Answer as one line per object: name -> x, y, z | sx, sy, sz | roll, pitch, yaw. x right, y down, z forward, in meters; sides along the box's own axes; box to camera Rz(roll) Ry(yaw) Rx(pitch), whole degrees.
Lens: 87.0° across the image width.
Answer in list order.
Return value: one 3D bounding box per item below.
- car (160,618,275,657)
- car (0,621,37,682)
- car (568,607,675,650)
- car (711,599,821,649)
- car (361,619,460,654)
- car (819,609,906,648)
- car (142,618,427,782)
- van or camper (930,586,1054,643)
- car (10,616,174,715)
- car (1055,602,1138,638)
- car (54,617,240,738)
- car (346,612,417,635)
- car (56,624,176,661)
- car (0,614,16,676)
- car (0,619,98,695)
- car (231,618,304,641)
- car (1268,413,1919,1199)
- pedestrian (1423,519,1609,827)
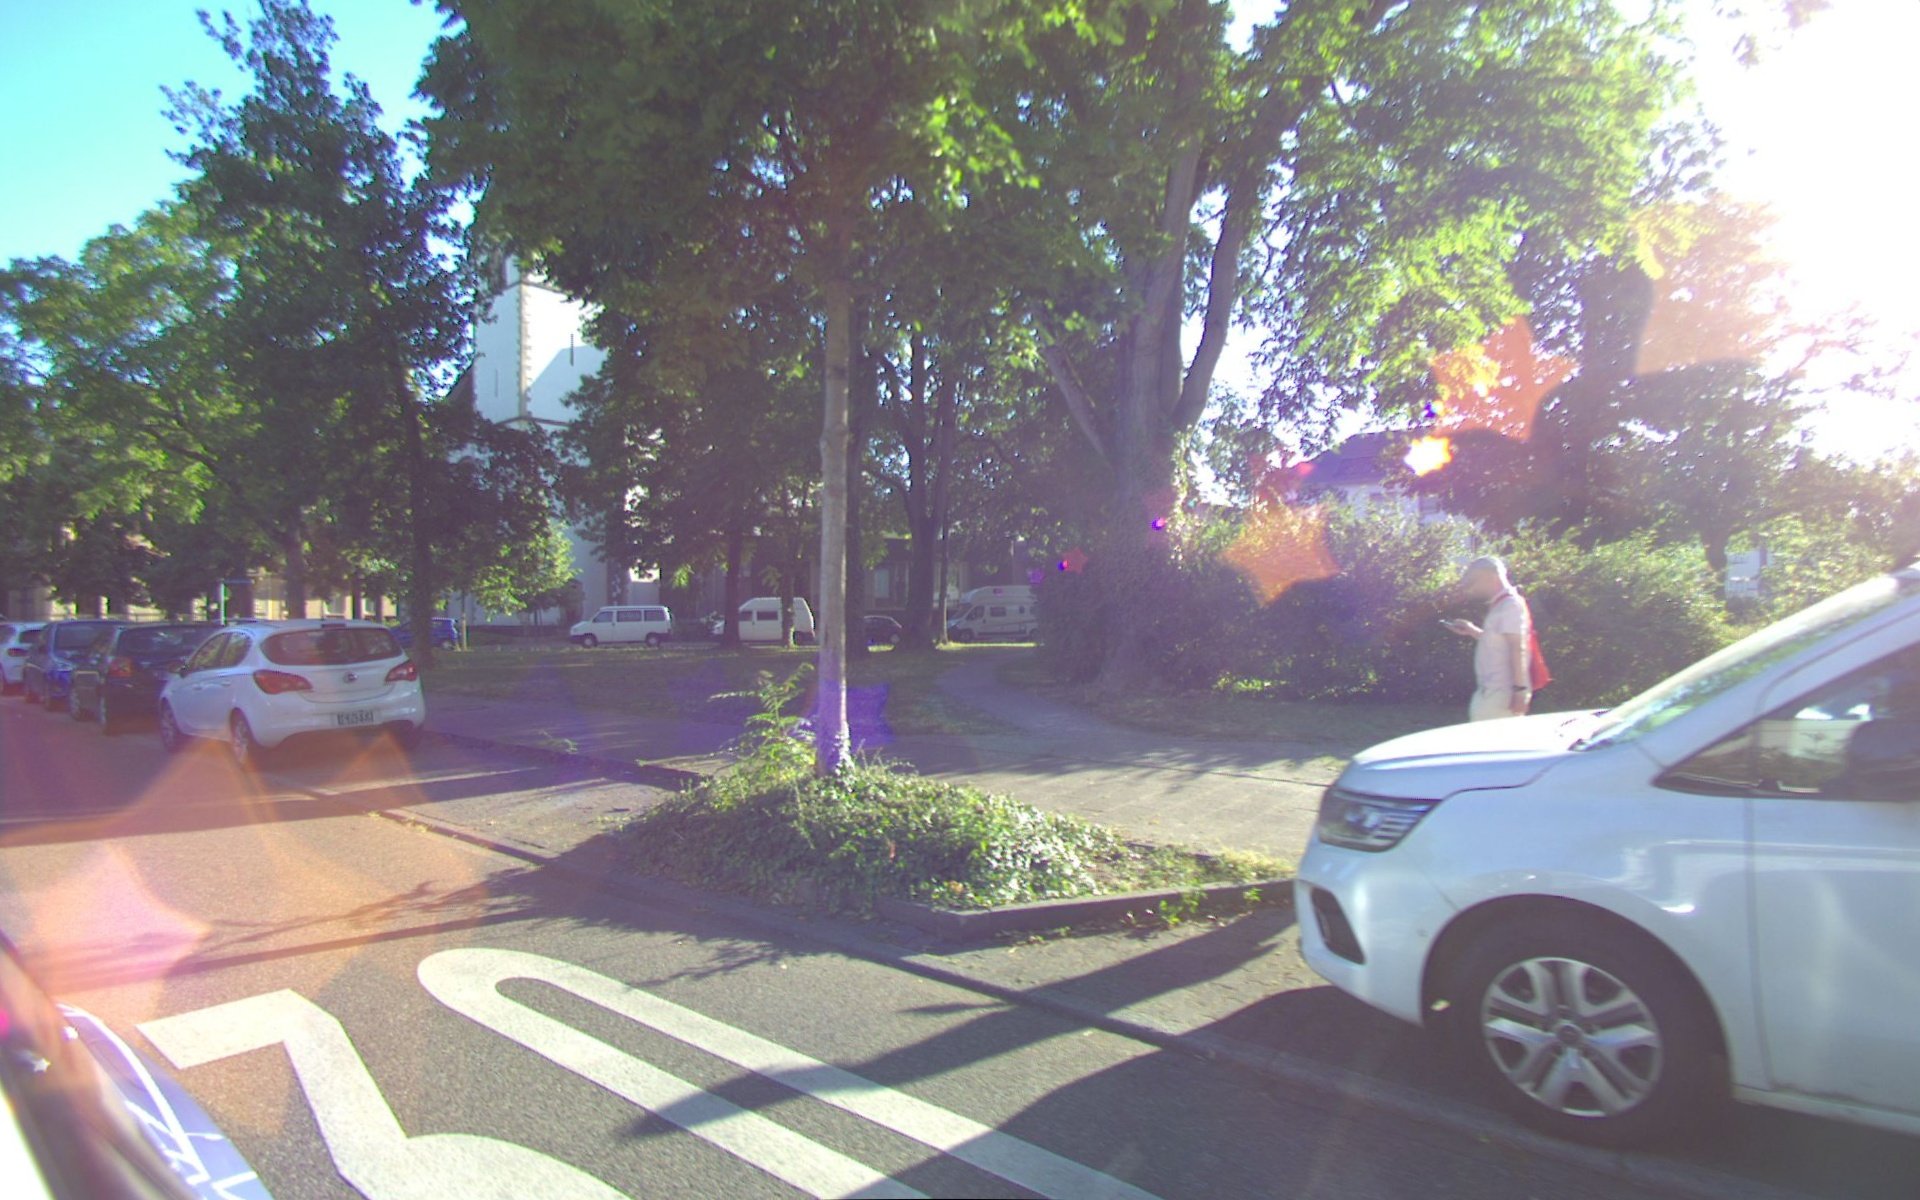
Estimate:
car -> -31.997, 1.594, 43.715 | 3.634, 1.591, 1.715 | 0, -1, -15
car -> -24.277, 1.284, 25.275 | 3.424, 1.434, 1.373 | -1, 0, 40
car -> -16.061, 1.340, 48.222 | 4.758, 1.961, 1.862 | 0, -1, -15
car -> -9.643, 1.155, 50.235 | 5.096, 2.374, 1.863 | 0, -1, -21
car -> -24.772, 1.623, 45.733 | 3.634, 1.513, 1.626 | 0, -1, -15
car -> -5.003, 1.438, 51.913 | 4.072, 1.900, 1.863 | 0, -1, -21
car -> -7.679, 0.987, 11.383 | 3.860, 1.538, 1.577 | -1, -1, 39
van or camper -> 1.706, 0.733, 53.952 | 6.223, 2.930, 2.103 | 0, -1, -18
car -> -15.365, 1.076, 17.867 | 3.702, 1.507, 1.622 | -1, 0, 40
car -> 7.507, 1.109, 55.739 | 4.072, 1.900, 1.863 | 0, -1, -21
car -> -11.825, 1.018, 14.628 | 3.942, 1.506, 1.535 | -2, -2, 43
car -> -43.158, 1.729, 75.568 | 1.889, 1.668, 4.166 | -2, -2, 38
car -> -35.771, 1.802, 42.977 | 3.545, 1.451, 1.622 | 0, -3, -14
car -> -28.185, 1.281, 28.538 | 4.317, 1.688, 1.783 | -1, 0, 40
car -> -19.819, 1.163, 21.502 | 3.972, 1.417, 1.673 | -1, 0, 40
car -> -52.488, 2.232, 76.742 | 1.998, 1.668, 4.165 | -1, -1, 39
car -> 3.316, 0.493, 2.519 | 4.547, 1.855, 1.763 | -1, -1, 39
pedestrian -> 3.528, 0.433, 6.433 | 0.944, 1.797, 0.594 | -1, -1, 36
